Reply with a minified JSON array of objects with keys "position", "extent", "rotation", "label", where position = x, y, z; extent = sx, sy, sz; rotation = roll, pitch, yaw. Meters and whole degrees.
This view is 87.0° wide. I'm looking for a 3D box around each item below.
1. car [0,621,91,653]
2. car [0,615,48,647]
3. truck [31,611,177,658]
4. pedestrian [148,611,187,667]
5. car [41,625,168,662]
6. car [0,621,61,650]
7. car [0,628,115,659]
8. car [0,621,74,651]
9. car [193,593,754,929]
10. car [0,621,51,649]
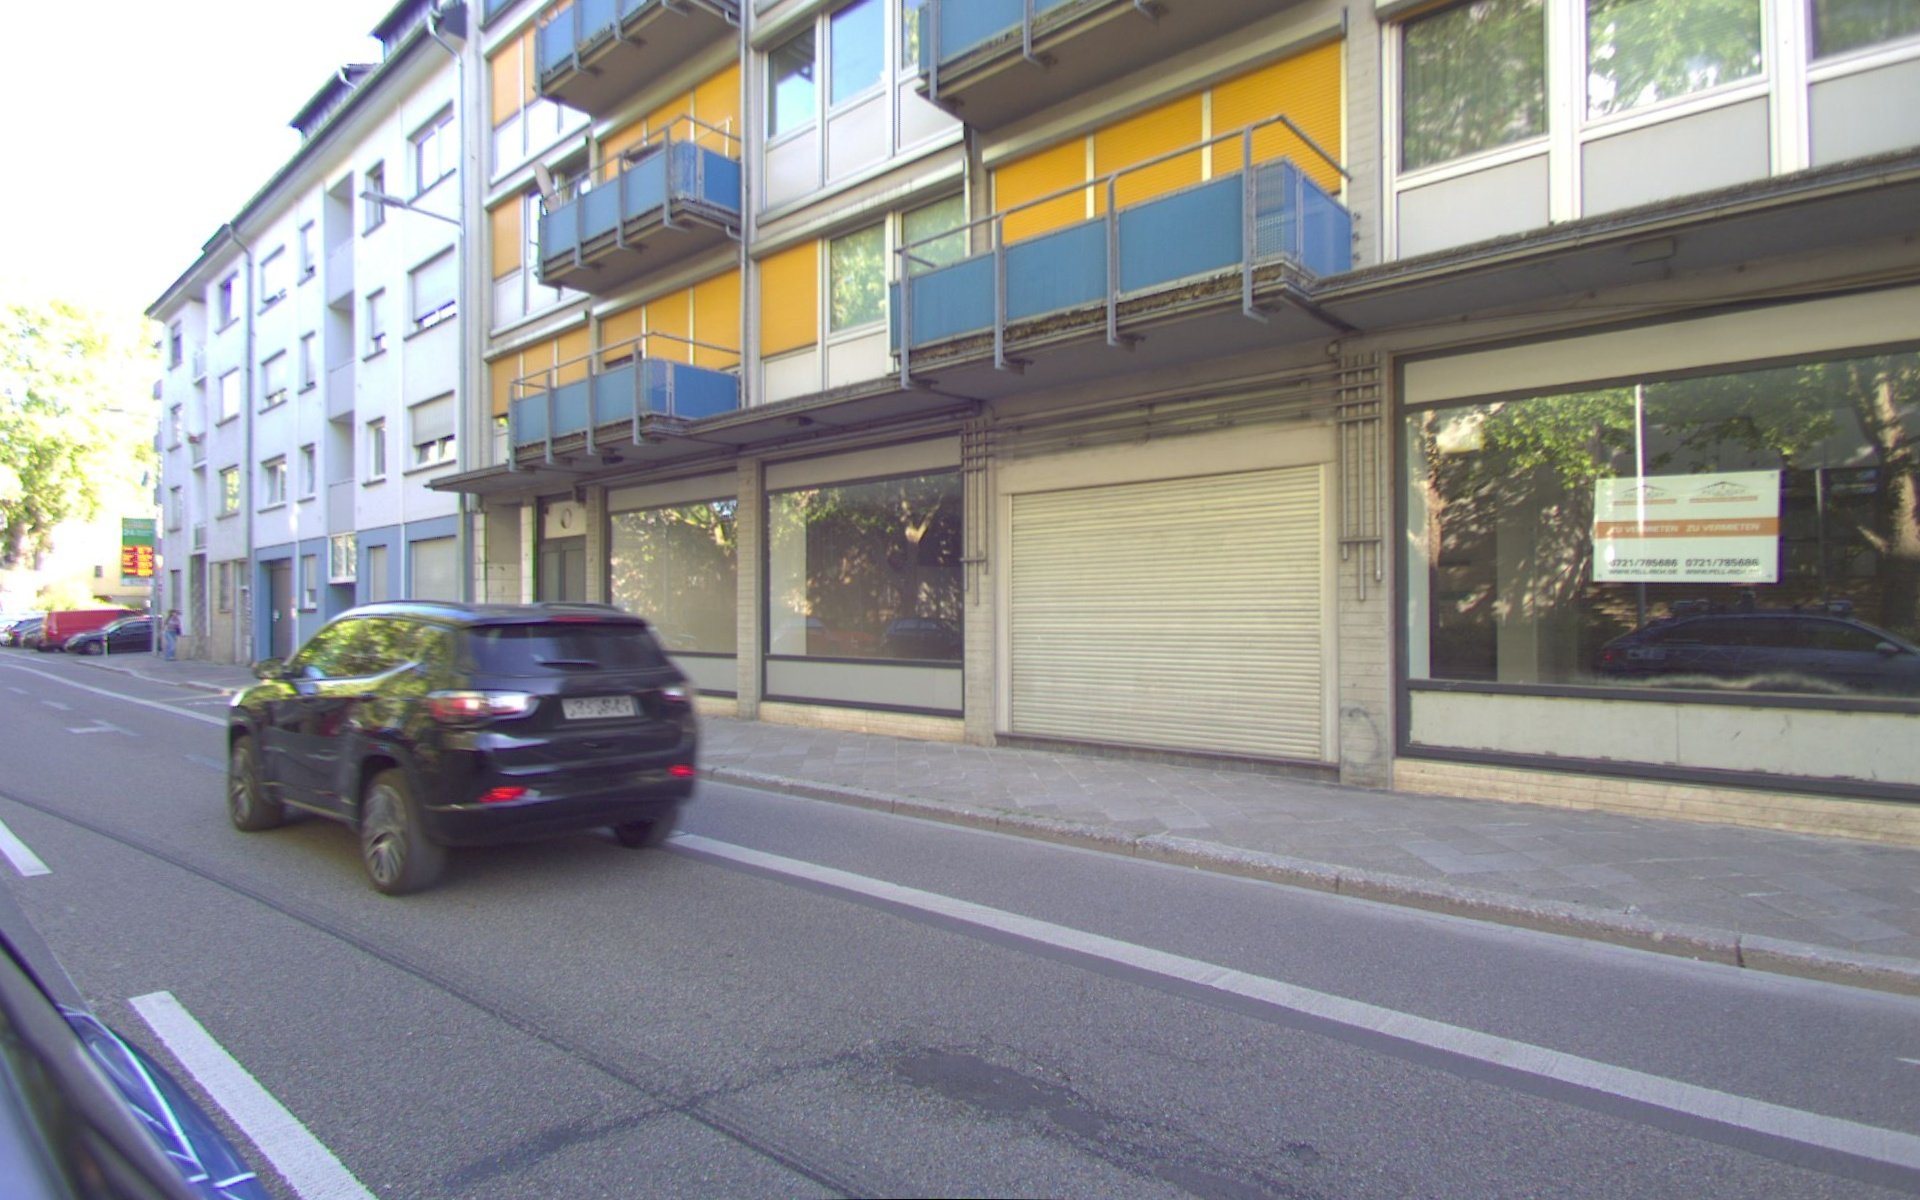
[{"position":[-50.827,2.004,55.967],"extent":[1.699,1.640,3.952],"rotation":[-1,0,35],"label":"car"},{"position":[-59.765,1.962,63.834],"extent":[1.693,1.953,3.224],"rotation":[-1,0,43],"label":"car"},{"position":[-40.355,1.579,47.836],"extent":[1.998,2.036,5.024],"rotation":[-1,0,40],"label":"truck"},{"position":[-26.234,1.279,33.509],"extent":[0.741,1.785,0.884],"rotation":[-1,0,41],"label":"pedestrian"},{"position":[-36.915,1.837,43.730],"extent":[1.780,1.404,3.947],"rotation":[-1,0,39],"label":"car"},{"position":[-55.073,2.076,59.000],"extent":[1.715,1.594,3.660],"rotation":[-1,0,35],"label":"car"},{"position":[-43.286,2.053,48.545],"extent":[1.904,1.282,3.983],"rotation":[-1,0,39],"label":"car"},{"position":[-52.888,2.031,57.471],"extent":[1.656,1.599,3.615],"rotation":[-1,0,35],"label":"car"},{"position":[-3.516,0.775,6.904],"extent":[4.382,1.582,1.831],"rotation":[-1,0,40],"label":"car"},{"position":[-56.893,2.116,60.393],"extent":[1.740,1.600,3.685],"rotation":[-1,0,35],"label":"car"}]
